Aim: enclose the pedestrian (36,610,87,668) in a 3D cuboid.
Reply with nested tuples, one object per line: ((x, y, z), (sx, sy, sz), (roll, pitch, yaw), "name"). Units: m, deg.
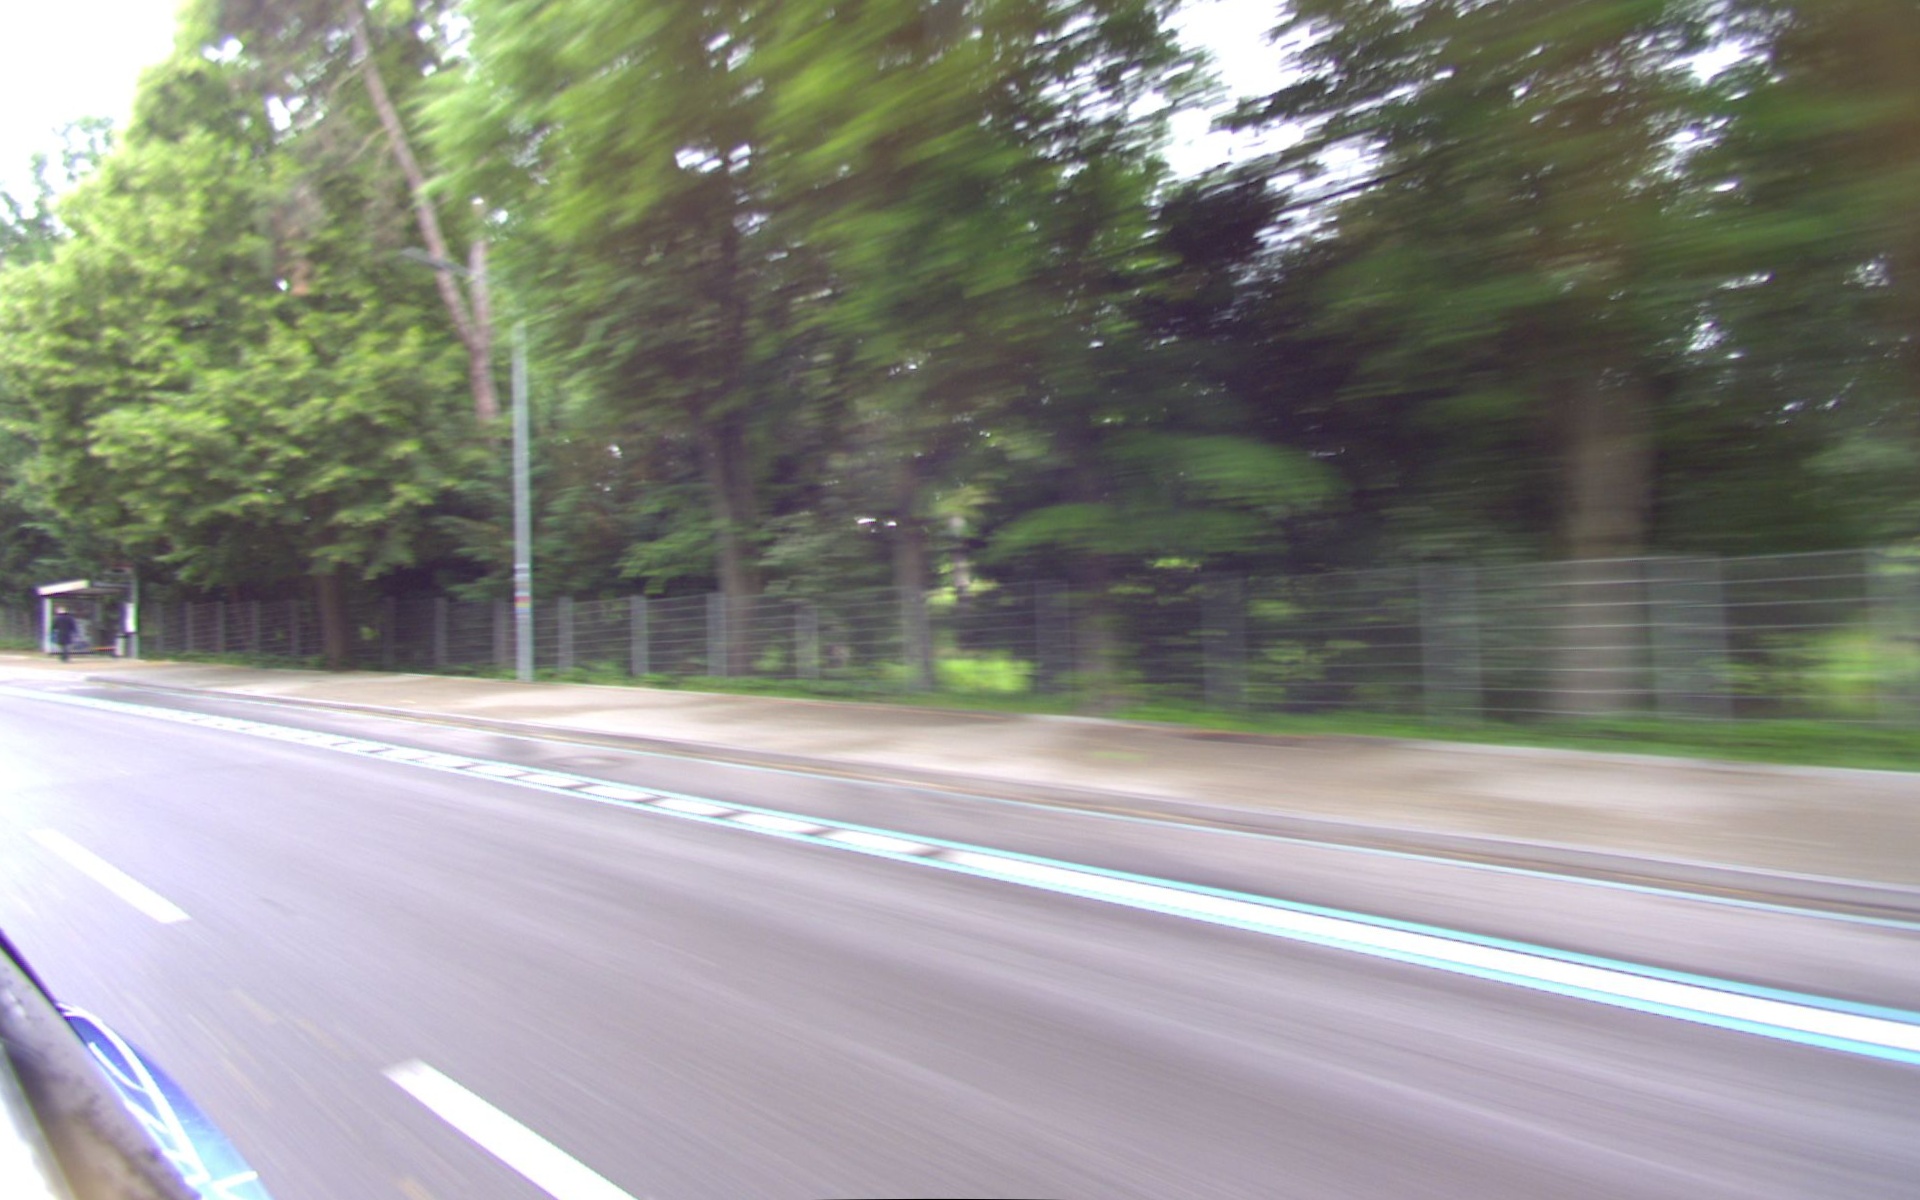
((-27.966, 1.211, 31.489), (1.141, 1.746, 0.881), (-1, -1, 30), "pedestrian")
